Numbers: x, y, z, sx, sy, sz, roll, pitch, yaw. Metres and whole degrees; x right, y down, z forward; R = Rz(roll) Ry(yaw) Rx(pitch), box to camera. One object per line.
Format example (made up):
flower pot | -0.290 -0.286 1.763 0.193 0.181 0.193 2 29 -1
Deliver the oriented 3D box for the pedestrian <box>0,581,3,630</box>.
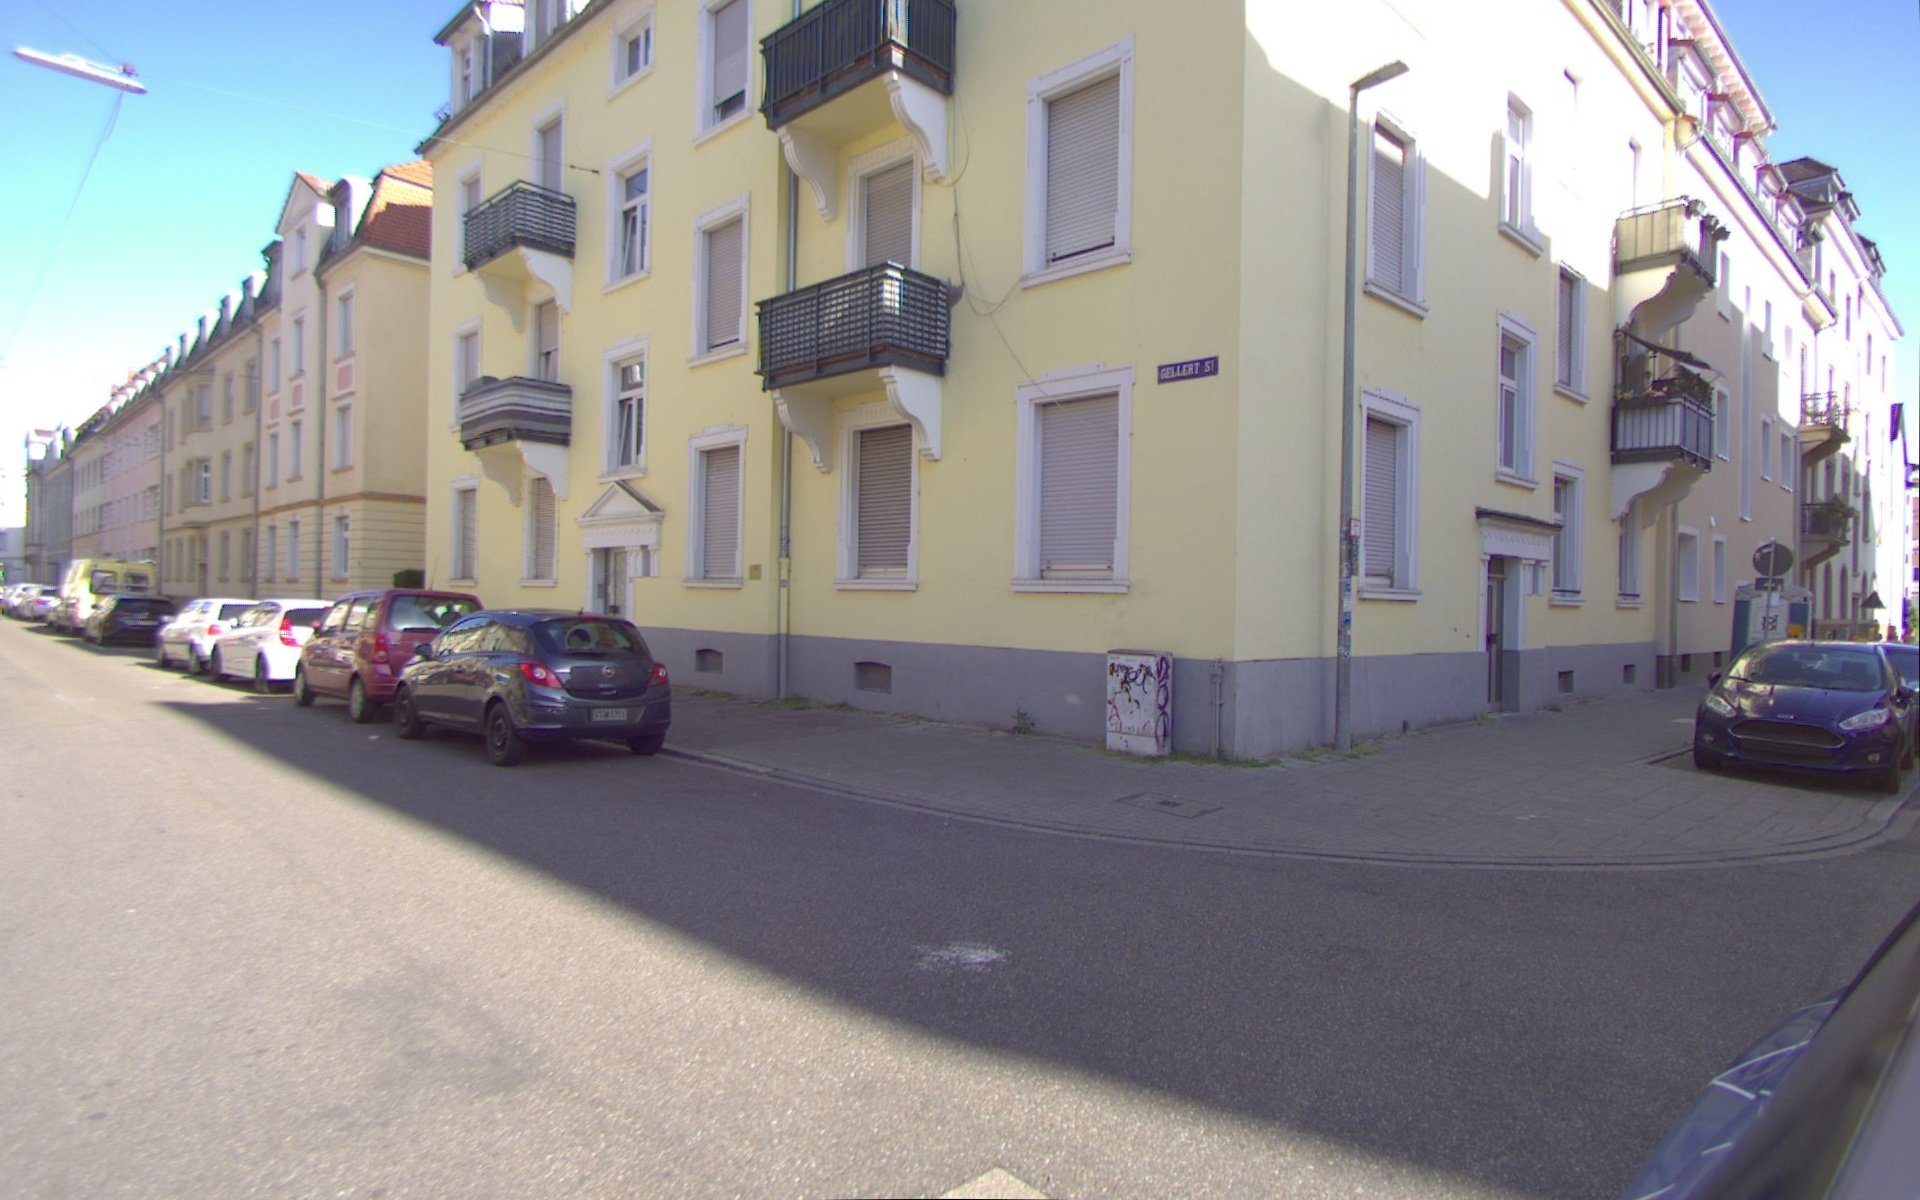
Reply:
pedestrian | -34.346 0.187 35.875 0.608 1.738 0.524 0 -1 42

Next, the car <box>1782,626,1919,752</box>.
car | 13.703 1.198 14.719 5.021 1.489 1.805 2 2 -41

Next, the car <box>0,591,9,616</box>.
car | -64.791 0.204 67.471 3.852 1.625 1.667 1 -2 42

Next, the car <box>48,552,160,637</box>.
car | -27.487 -0.172 32.438 4.909 2.475 1.995 1 -2 42

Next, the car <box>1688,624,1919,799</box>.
car | 9.677 1.078 11.389 1.764 1.489 4.018 4 2 45

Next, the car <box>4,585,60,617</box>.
car | -46.130 0.054 50.280 3.852 1.452 1.667 1 -2 42

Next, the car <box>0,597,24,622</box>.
car | -57.842 0.532 61.054 3.852 1.452 1.667 1 -2 42

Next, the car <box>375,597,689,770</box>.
car | -4.649 0.772 10.777 3.620 1.487 1.667 1 -2 42

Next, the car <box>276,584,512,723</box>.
car | -7.740 0.648 13.720 3.620 1.620 1.667 1 -2 42

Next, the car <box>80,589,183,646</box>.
car | -23.477 0.476 28.640 3.852 1.452 1.667 1 -2 42

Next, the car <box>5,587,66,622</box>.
car | -42.745 0.199 46.753 3.852 1.452 1.667 1 -2 42

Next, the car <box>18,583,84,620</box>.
car | -39.034 0.045 43.428 3.852 1.452 1.667 1 -2 42

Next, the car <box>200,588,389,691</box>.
car | -11.127 0.605 16.833 3.852 1.490 1.667 1 -2 42

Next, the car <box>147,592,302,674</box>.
car | -14.571 0.616 19.981 3.852 1.452 1.667 1 -2 42
